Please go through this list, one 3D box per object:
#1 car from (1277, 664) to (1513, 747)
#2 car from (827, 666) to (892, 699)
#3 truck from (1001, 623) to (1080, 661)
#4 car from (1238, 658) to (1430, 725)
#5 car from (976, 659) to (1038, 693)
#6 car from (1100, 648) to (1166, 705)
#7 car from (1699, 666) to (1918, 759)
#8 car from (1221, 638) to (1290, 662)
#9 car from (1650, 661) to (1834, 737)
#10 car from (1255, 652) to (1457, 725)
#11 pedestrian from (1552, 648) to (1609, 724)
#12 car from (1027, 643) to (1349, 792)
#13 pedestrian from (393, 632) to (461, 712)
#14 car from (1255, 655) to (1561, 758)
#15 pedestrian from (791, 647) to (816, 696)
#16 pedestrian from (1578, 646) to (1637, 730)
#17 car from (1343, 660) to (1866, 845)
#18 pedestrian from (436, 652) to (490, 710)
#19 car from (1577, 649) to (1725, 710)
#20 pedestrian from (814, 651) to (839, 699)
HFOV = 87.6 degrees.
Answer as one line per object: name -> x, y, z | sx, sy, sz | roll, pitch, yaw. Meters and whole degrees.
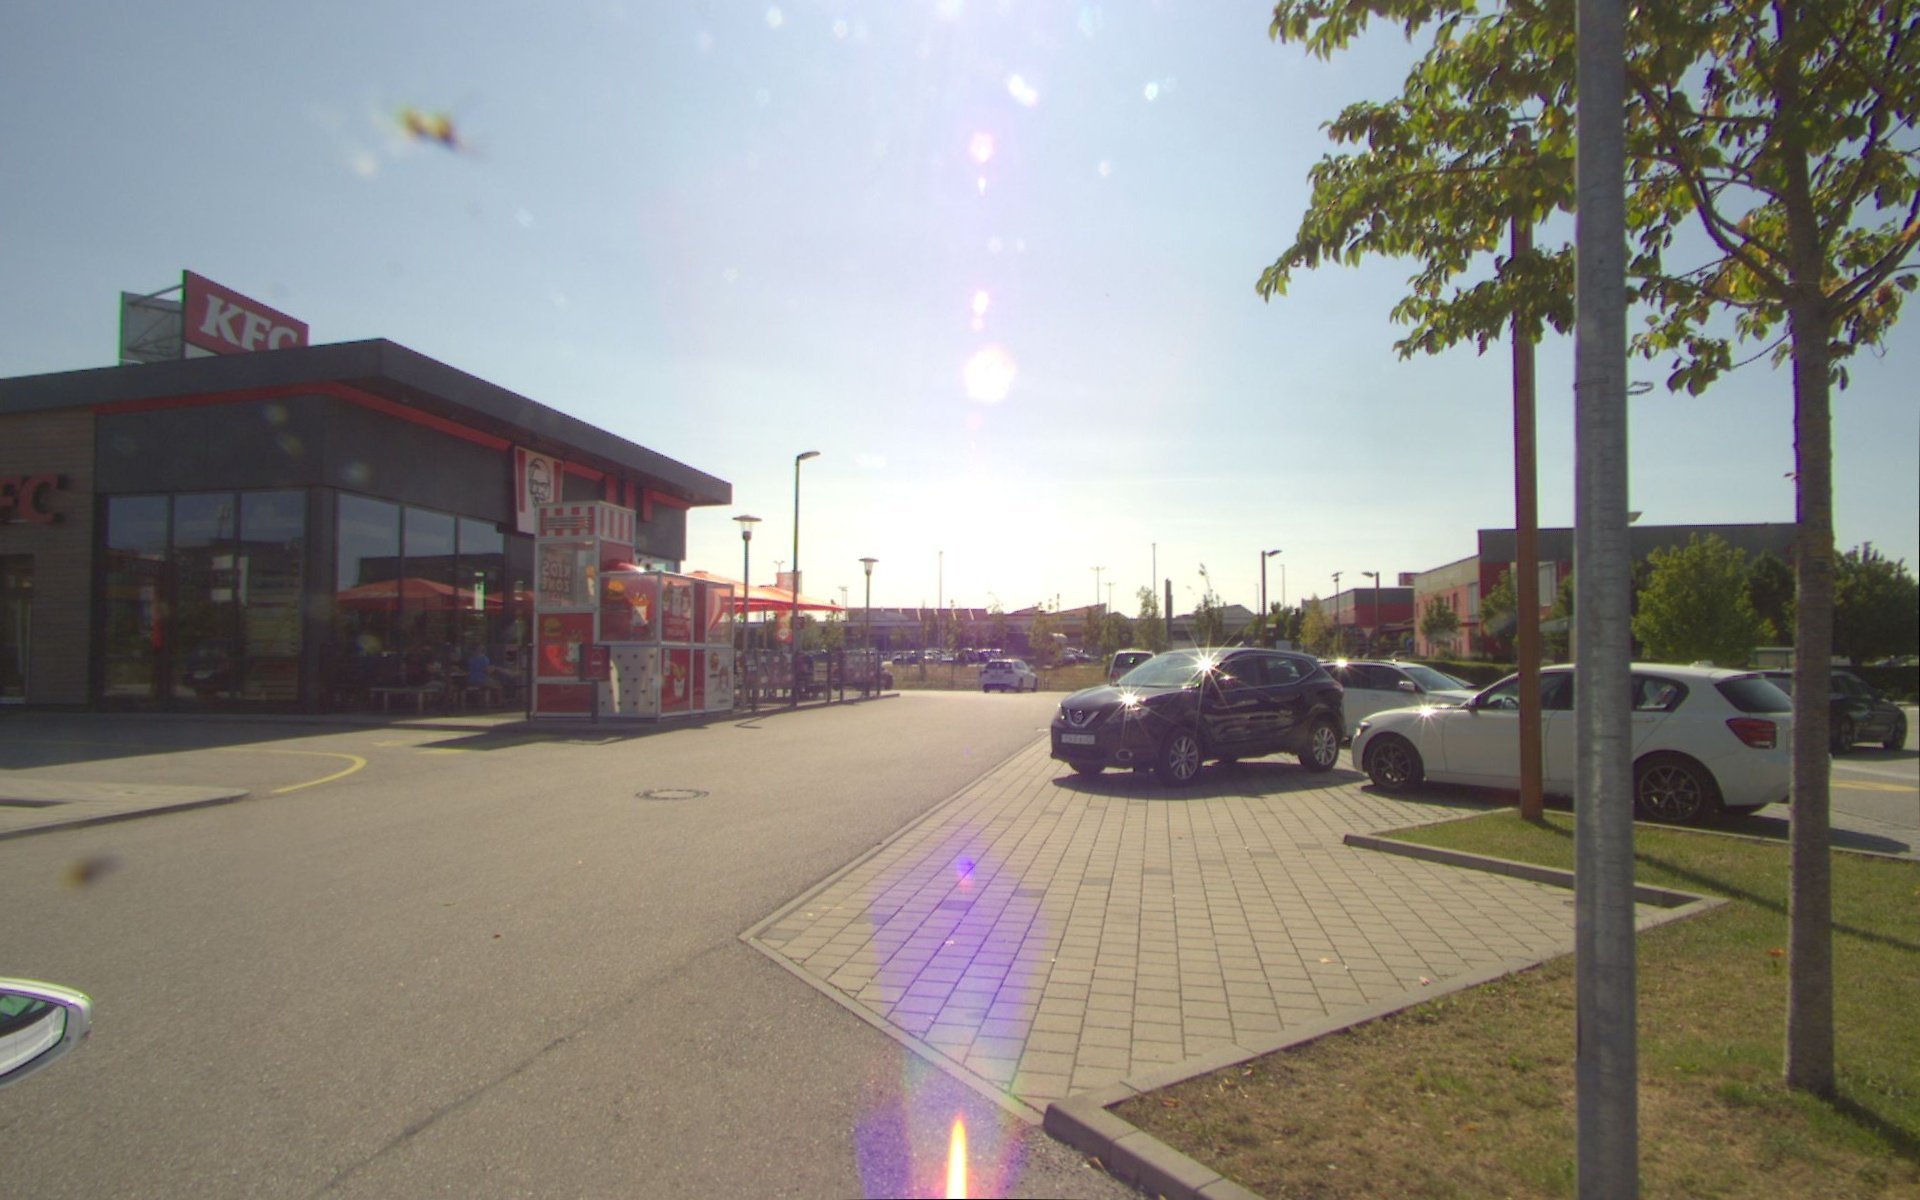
car -> 8.529, 2.016, 19.931 | 1.799, 1.420, 3.973 | 3, -4, -36
car -> -4.720, 3.890, 47.573 | 1.657, 1.472, 3.752 | 0, -3, 19
truck -> 7.365, 3.838, 92.229 | 7.490, 3.394, 2.401 | -2, -3, 45
car -> 9.553, 2.289, 25.797 | 4.304, 1.530, 1.765 | -2, -4, 42
car -> 2.166, 3.394, 45.121 | 1.854, 1.415, 4.153 | 0, -3, 17
car -> 5.939, 2.554, 33.908 | 2.033, 1.771, 4.368 | 0, -3, 12
car -> 15.883, 2.016, 18.702 | 4.360, 1.529, 1.972 | 3, -3, -33
car -> 29.614, 5.004, 100.507 | 6.447, 2.272, 2.301 | 0, -3, 11
car -> 17.665, 2.172, 22.579 | 4.360, 1.529, 1.972 | 3, -3, -33
car -> 9.056, 1.975, 23.114 | 1.804, 1.507, 3.962 | 3, -4, -44
pedestrian -> 16.361, 2.252, 26.419 | 0.903, 1.939, 0.900 | 2, -3, -23
car -> 2.960, 1.376, 12.663 | 4.037, 1.596, 1.746 | 3, -3, -36
pedestrian -> -9.930, 1.334, 18.672 | 0.757, 1.453, 0.800 | 1, -2, 8
car -> 7.468, 1.703, 17.122 | 1.892, 1.489, 4.440 | 3, -4, -37
pedestrian -> -4.229, 1.931, 27.058 | 0.585, 1.285, 0.686 | 1, -3, -15
pedestrian -> 15.342, 2.068, 23.765 | 1.012, 1.939, 0.901 | 0, -3, 23
car -> 6.303, 1.366, 10.272 | 1.822, 1.443, 4.158 | 3, -4, -36
pedestrian -> -9.669, 1.565, 19.489 | 0.617, 1.085, 0.718 | 1, -2, 8
car -> 17.598, 2.008, 25.484 | 3.851, 1.443, 1.698 | 3, -4, -32
pedestrian -> -3.638, 2.025, 27.258 | 0.585, 1.285, 0.686 | 1, -3, -15
